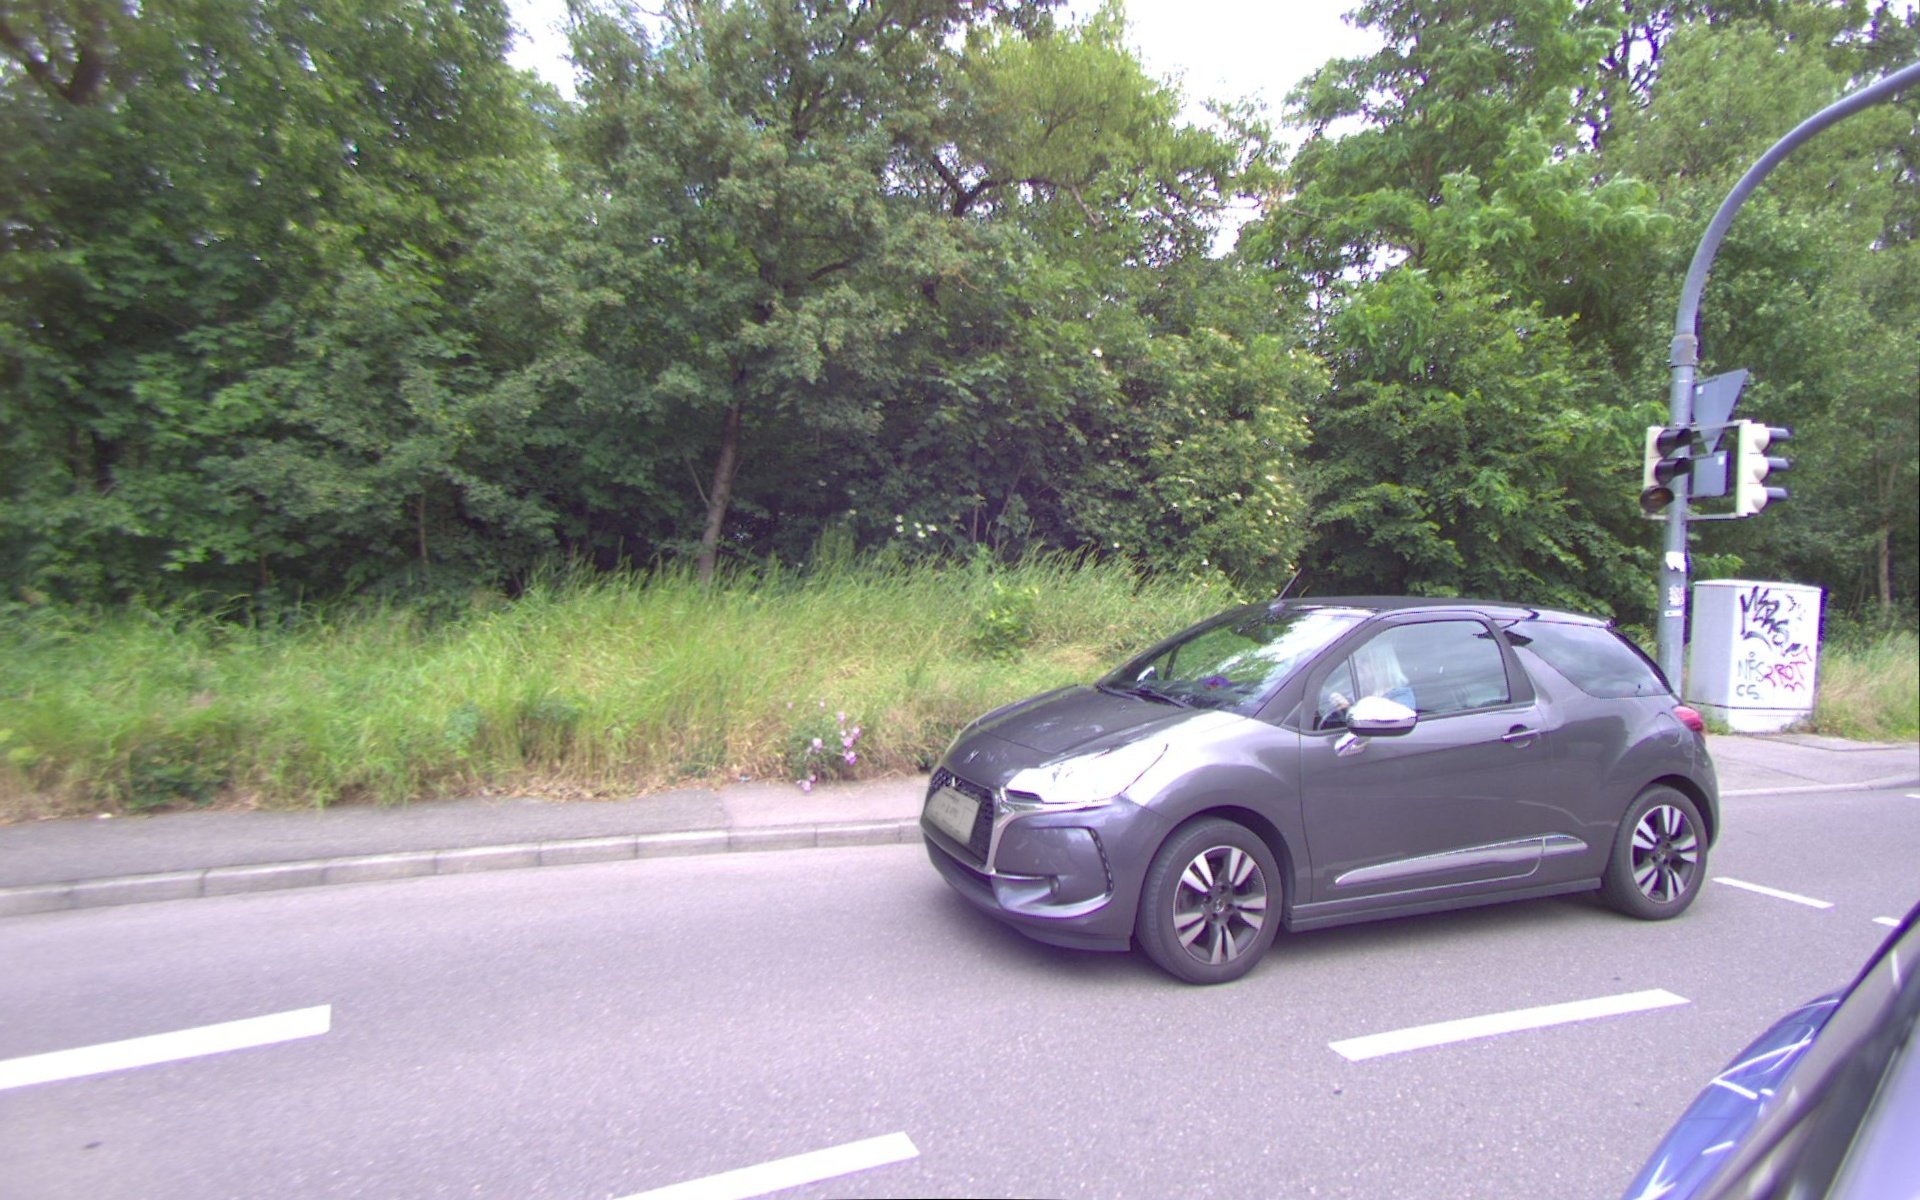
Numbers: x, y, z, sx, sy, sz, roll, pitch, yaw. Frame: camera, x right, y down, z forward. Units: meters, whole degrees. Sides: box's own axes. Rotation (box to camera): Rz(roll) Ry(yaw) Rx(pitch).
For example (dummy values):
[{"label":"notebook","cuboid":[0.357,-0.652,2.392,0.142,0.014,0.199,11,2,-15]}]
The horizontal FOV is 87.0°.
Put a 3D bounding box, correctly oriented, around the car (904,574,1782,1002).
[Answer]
[{"label":"car","cuboid":[1.783,0.646,4.940,3.774,1.476,1.735,0,0,-19]}]
